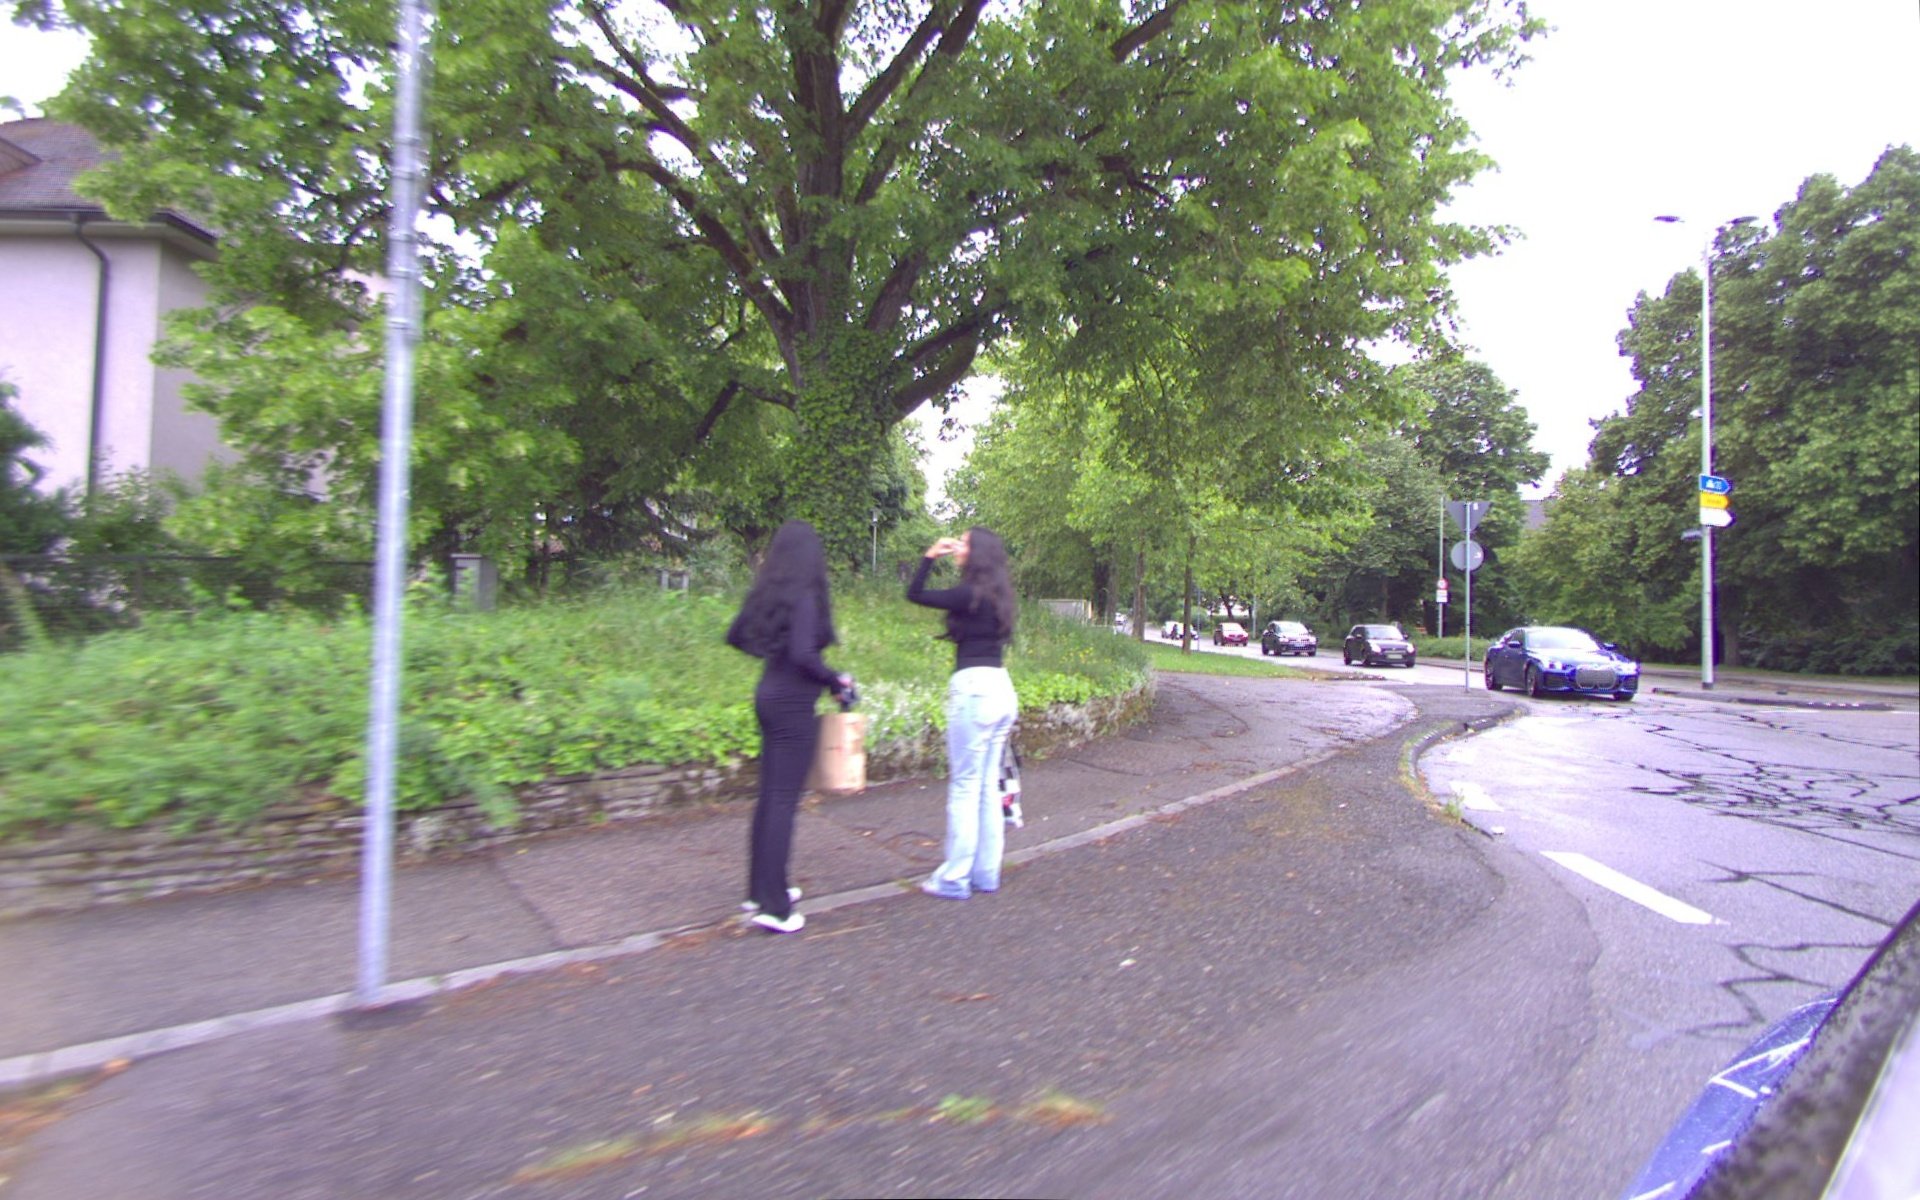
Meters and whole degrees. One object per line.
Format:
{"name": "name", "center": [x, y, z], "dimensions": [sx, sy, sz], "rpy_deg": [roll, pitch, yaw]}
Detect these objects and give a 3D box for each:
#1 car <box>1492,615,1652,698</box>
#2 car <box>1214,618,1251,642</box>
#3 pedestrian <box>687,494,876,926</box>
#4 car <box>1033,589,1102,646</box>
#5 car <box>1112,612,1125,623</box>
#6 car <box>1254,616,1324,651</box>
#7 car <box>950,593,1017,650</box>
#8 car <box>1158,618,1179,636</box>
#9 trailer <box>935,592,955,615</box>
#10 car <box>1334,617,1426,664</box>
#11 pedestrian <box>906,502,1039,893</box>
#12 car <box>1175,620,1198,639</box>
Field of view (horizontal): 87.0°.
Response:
{"name": "car", "center": [12.785, 1.106, 21.437], "dimensions": [1.801, 1.498, 4.048], "rpy_deg": [0, 0, 15]}
{"name": "car", "center": [18.120, 1.975, 67.488], "dimensions": [1.796, 1.498, 4.060], "rpy_deg": [1, 0, 6]}
{"name": "pedestrian", "center": [-0.768, 0.440, 4.432], "dimensions": [0.628, 1.735, 0.526], "rpy_deg": [0, -1, 21]}
{"name": "car", "center": [3.182, 0.479, 30.708], "dimensions": [1.738, 1.489, 4.594], "rpy_deg": [4, 0, 3]}
{"name": "car", "center": [22.718, 2.479, 145.096], "dimensions": [1.797, 1.498, 4.057], "rpy_deg": [1, 0, 9]}
{"name": "car", "center": [15.650, 1.554, 48.365], "dimensions": [1.995, 1.498, 4.067], "rpy_deg": [1, 0, 0]}
{"name": "car", "center": [0.743, 0.600, 30.659], "dimensions": [1.817, 1.489, 4.423], "rpy_deg": [3, 0, 2]}
{"name": "car", "center": [19.219, 2.477, 93.276], "dimensions": [1.798, 1.498, 4.054], "rpy_deg": [1, 0, 11]}
{"name": "trailer", "center": [-1.440, 0.337, 99.556], "dimensions": [1.739, 2.143, 5.191], "rpy_deg": [0, 0, 1]}
{"name": "car", "center": [14.998, 1.398, 36.383], "dimensions": [1.794, 1.498, 4.063], "rpy_deg": [1, 0, 3]}
{"name": "pedestrian", "center": [0.042, 0.431, 4.846], "dimensions": [0.519, 1.735, 0.637], "rpy_deg": [0, -1, -9]}
{"name": "car", "center": [19.221, 2.480, 85.764], "dimensions": [1.800, 1.498, 4.050], "rpy_deg": [1, 0, 13]}
